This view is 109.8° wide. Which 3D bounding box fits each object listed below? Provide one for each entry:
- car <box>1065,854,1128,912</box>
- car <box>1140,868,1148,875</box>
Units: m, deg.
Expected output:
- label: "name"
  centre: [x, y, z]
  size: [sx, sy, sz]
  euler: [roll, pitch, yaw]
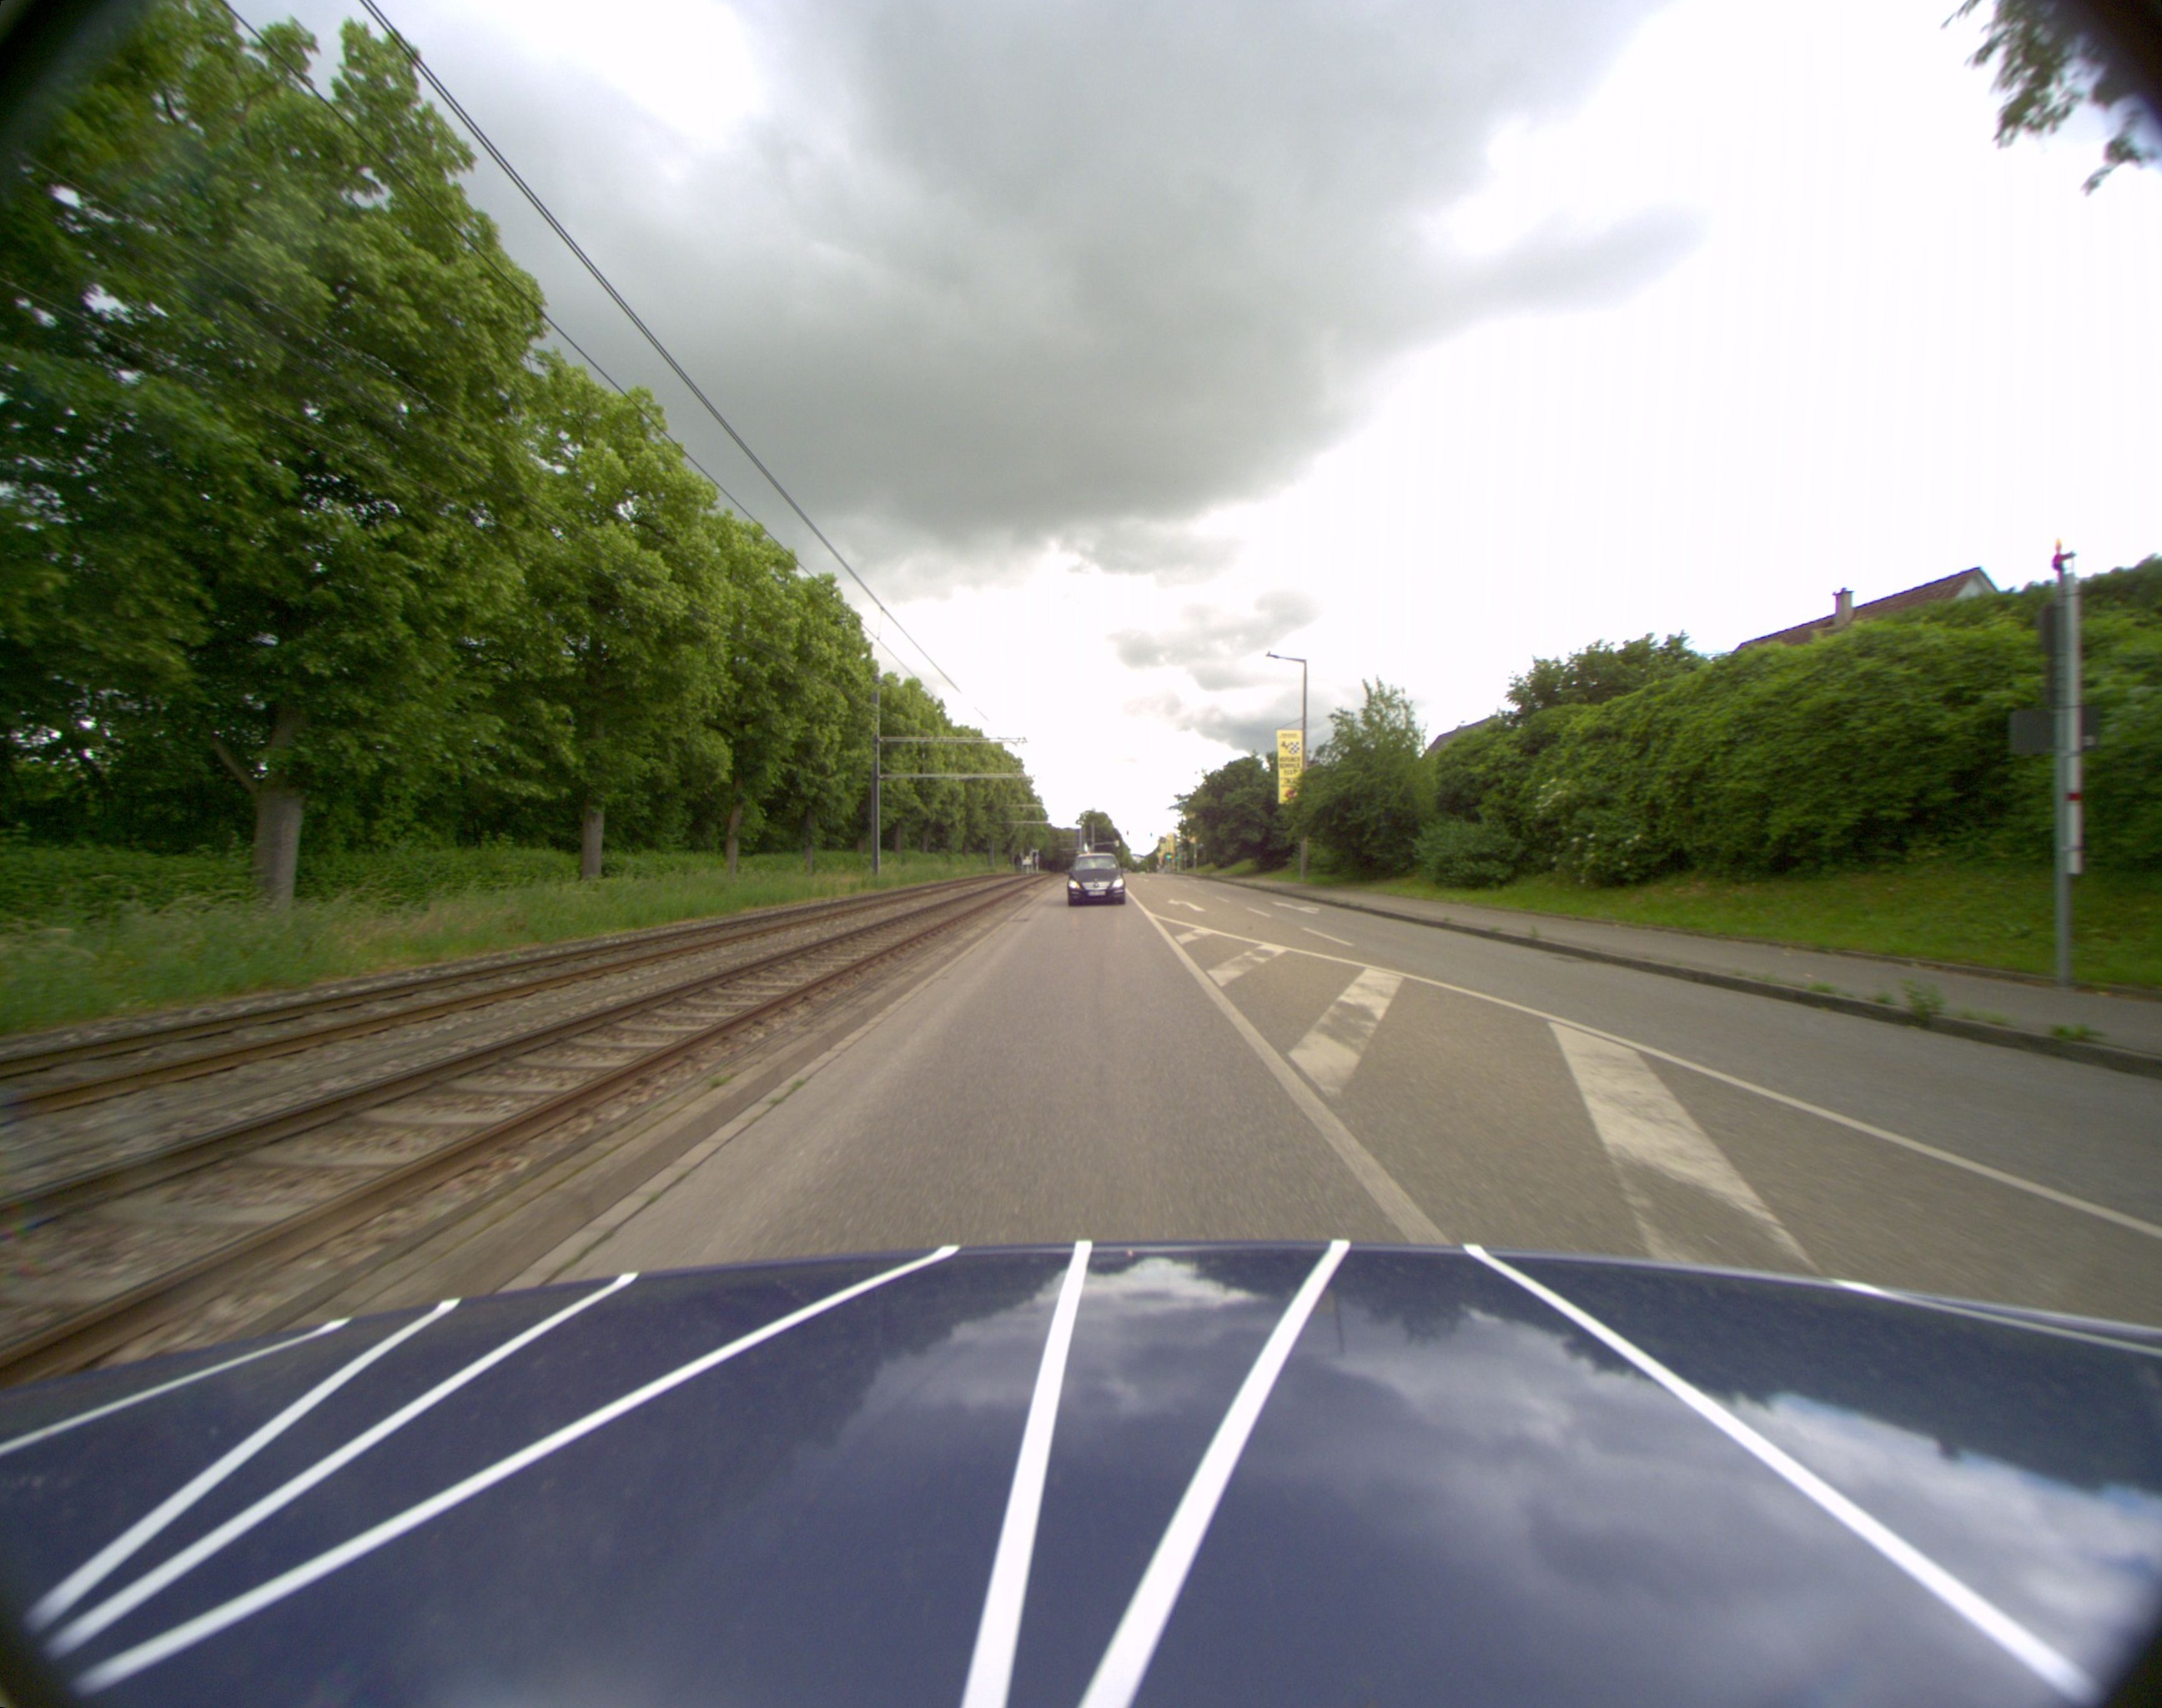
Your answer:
- label: "car"
  centre: [0.528, 0.811, 23.337]
  size: [1.749, 1.558, 4.122]
  euler: [-1, 0, 3]
- label: "car"
  centre: [17.764, 4.919, 214.295]
  size: [2.063, 1.799, 4.731]
  euler: [1, -1, 3]
